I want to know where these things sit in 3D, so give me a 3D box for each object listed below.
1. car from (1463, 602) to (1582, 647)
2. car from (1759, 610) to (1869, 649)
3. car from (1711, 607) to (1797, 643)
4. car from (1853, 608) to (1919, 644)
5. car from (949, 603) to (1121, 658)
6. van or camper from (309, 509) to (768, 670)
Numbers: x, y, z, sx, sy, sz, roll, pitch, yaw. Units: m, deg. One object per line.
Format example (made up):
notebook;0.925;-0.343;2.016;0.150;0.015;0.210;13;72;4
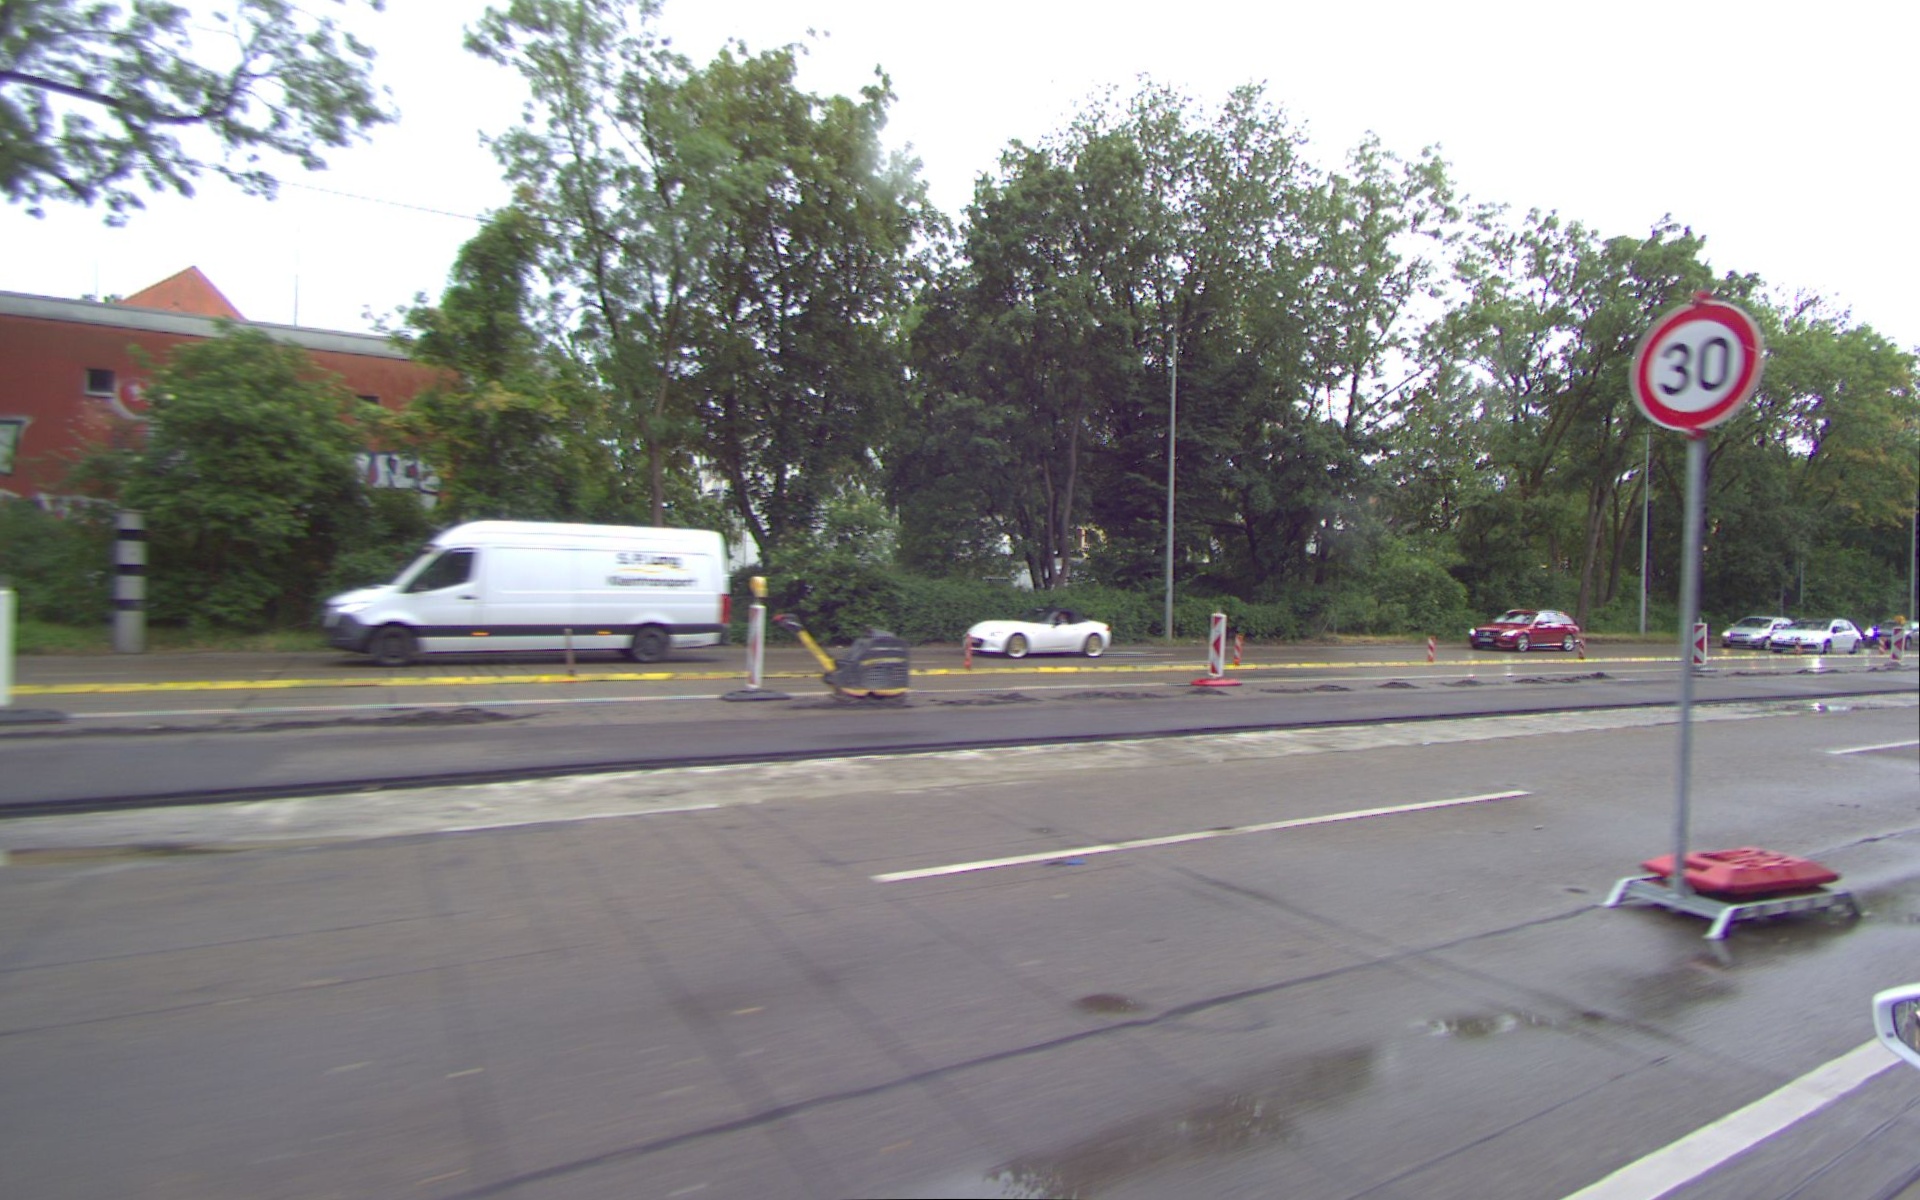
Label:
car;20.177;0.888;35.969;4.435;1.496;1.720;2;0;-31
car;34.546;1.203;40.623;4.340;1.434;1.985;2;-1;-29
car;34.931;1.097;44.166;3.595;1.419;1.672;2;1;-29
car;47.281;1.333;50.896;3.953;1.643;1.818;2;1;-30
car;1.884;0.751;24.962;3.951;1.199;1.681;2;2;-29
van or camper;-7.654;-0.117;18.979;7.638;2.589;1.984;2;2;-30
